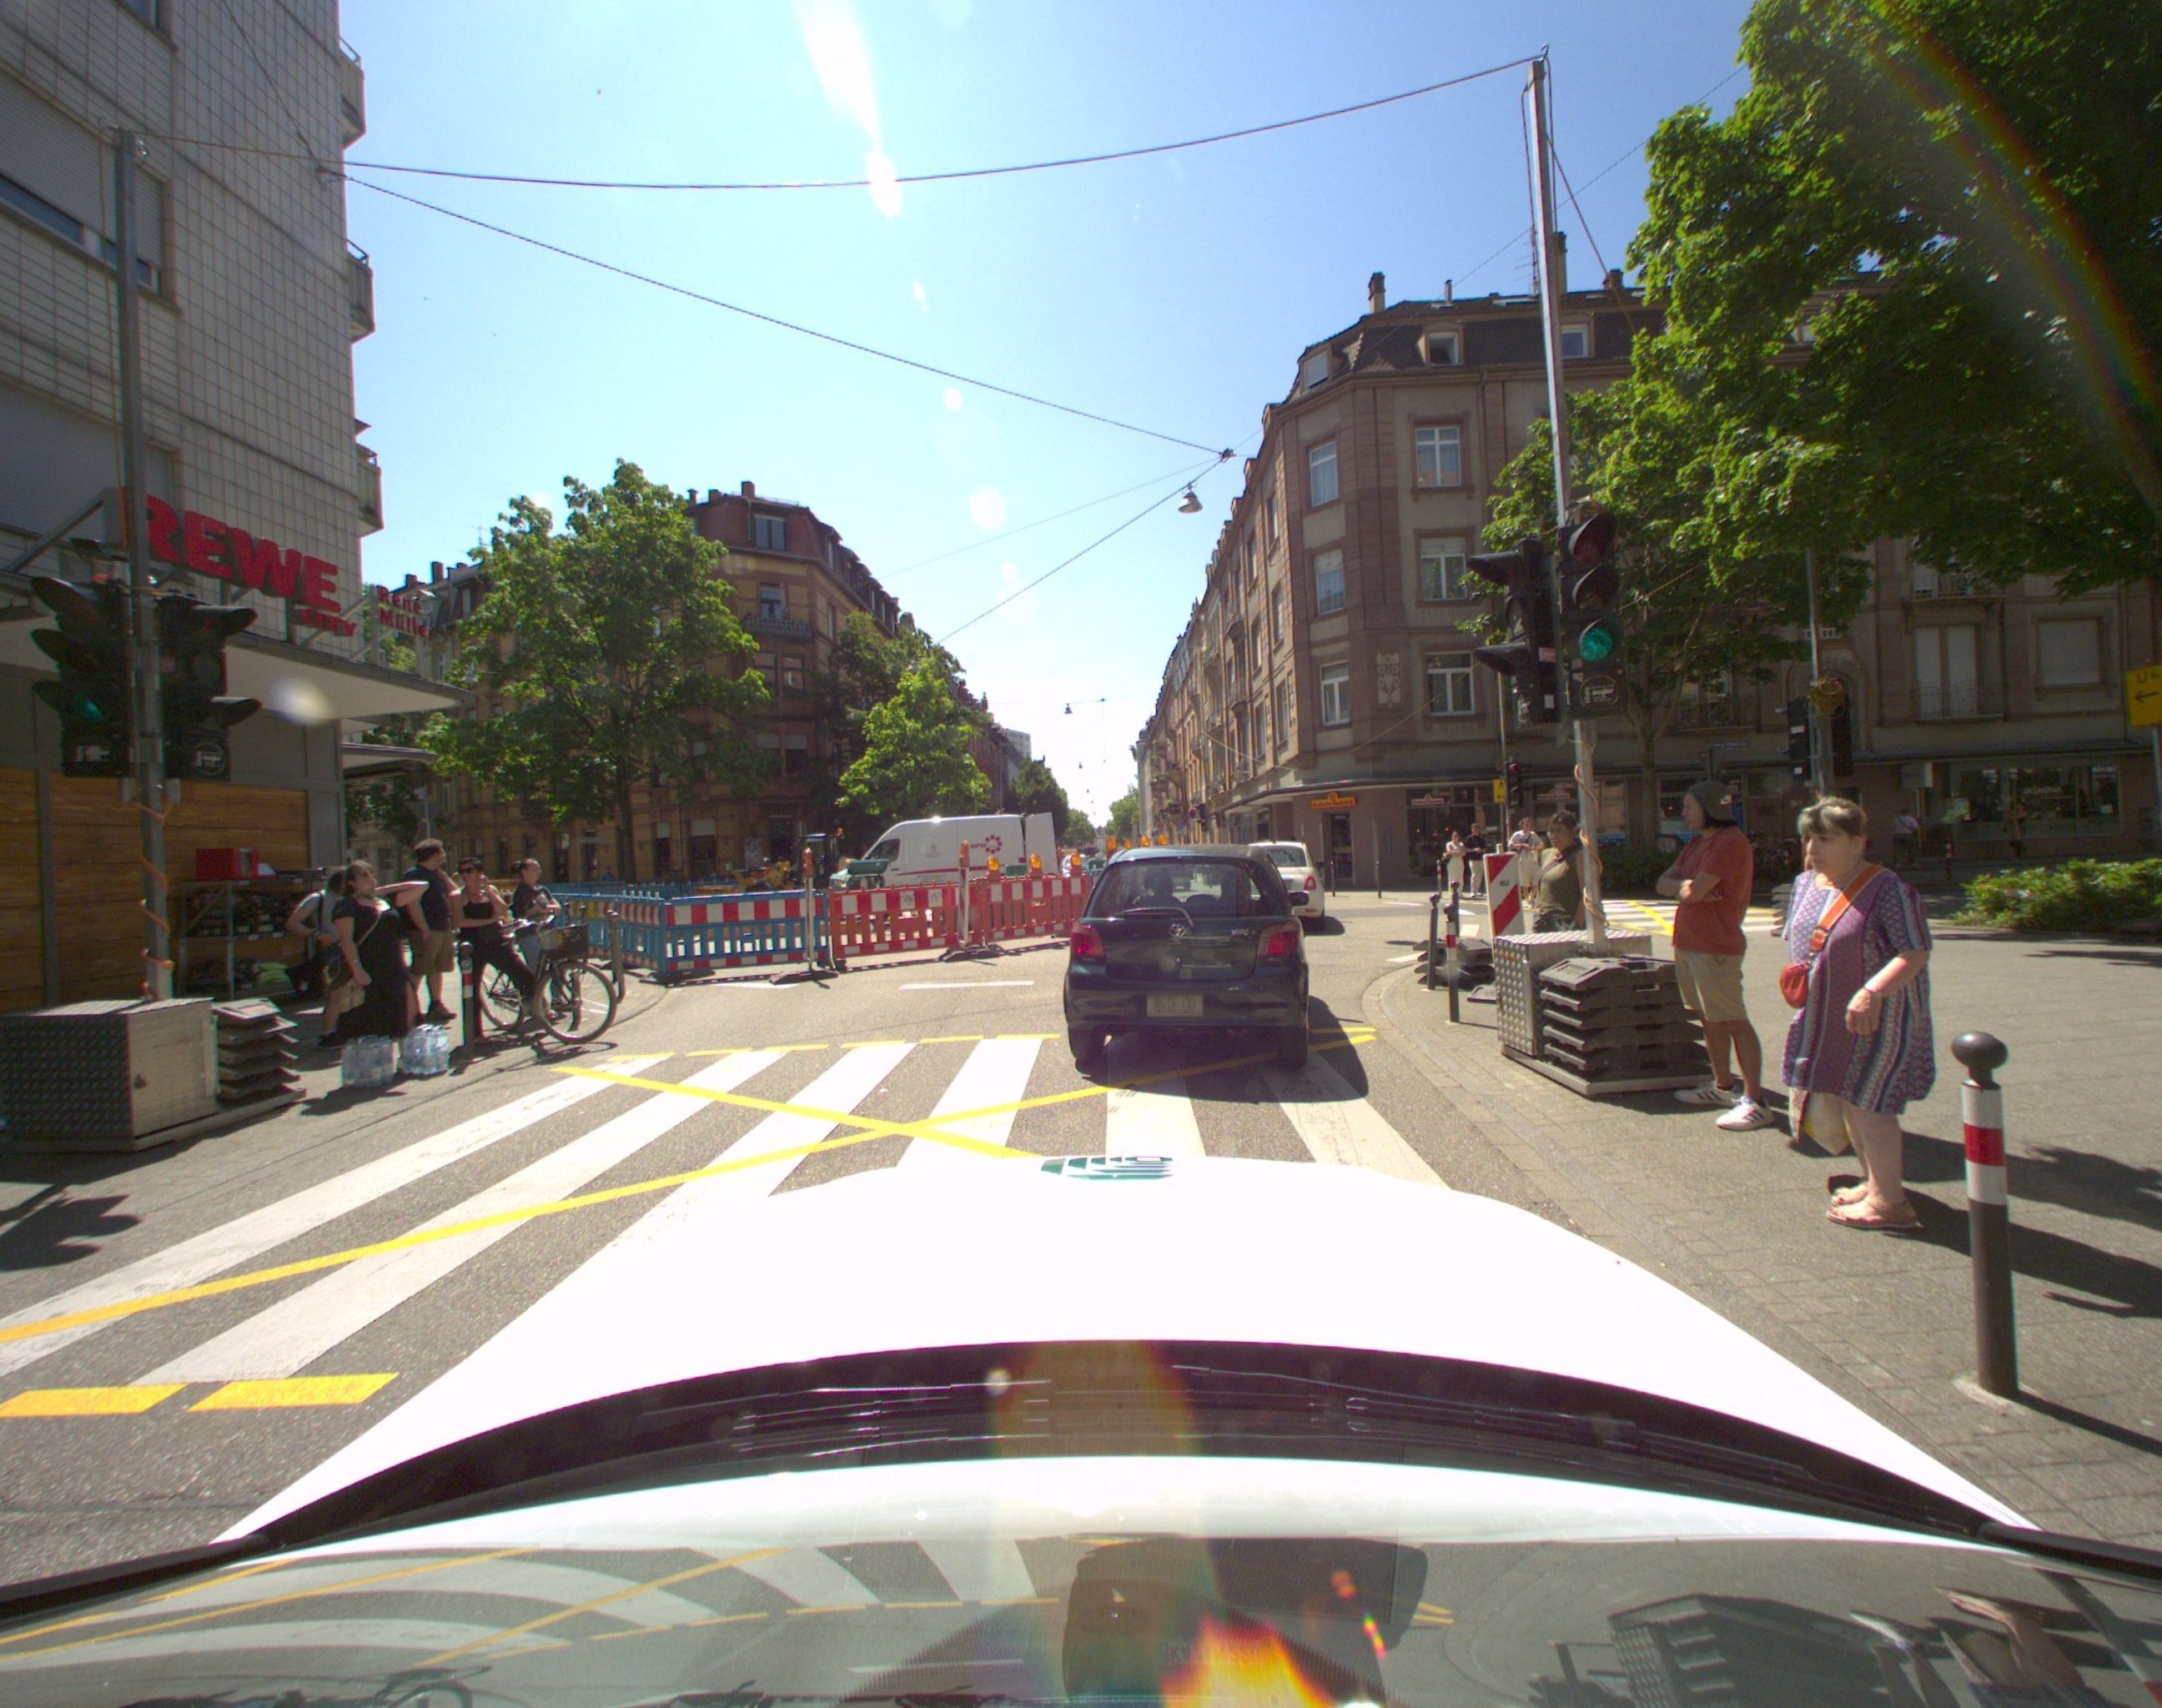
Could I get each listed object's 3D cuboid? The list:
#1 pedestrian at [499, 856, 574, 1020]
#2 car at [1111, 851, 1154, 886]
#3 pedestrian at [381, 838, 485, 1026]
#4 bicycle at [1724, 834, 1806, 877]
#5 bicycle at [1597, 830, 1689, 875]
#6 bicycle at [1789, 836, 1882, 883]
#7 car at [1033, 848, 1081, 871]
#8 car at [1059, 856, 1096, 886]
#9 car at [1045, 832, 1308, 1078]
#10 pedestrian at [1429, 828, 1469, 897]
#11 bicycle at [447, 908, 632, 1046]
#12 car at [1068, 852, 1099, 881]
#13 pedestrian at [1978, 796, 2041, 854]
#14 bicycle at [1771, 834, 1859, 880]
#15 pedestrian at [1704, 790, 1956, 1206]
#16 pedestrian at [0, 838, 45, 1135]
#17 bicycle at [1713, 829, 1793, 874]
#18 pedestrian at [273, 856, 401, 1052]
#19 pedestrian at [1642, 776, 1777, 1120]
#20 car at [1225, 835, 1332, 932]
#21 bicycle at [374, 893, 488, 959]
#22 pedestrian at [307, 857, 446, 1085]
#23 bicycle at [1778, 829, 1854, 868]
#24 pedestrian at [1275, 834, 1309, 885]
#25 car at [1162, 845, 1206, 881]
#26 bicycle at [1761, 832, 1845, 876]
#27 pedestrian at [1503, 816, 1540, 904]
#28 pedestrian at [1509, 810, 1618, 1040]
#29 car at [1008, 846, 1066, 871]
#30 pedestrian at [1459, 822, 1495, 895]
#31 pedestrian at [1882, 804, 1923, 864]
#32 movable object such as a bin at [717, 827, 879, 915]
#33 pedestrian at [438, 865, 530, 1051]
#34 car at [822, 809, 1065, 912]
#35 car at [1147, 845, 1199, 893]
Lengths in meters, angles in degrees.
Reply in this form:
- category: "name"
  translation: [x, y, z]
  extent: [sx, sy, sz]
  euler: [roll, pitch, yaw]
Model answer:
- category: "pedestrian"
  translation: [-5.586, 0.838, 8.376]
  extent: [0.388, 1.618, 0.475]
  euler: [-3, 0, -1]
- category: "car"
  translation: [2.686, 0.720, 43.249]
  extent: [1.986, 1.618, 4.001]
  euler: [-5, 0, 1]
- category: "pedestrian"
  translation: [-6.579, 0.766, 8.295]
  extent: [0.507, 1.820, 0.599]
  euler: [-3, 0, -1]
- category: "bicycle"
  translation: [17.497, 0.030, 20.850]
  extent: [1.756, 0.996, 0.470]
  euler: [-3, 2, -3]
- category: "bicycle"
  translation: [15.399, -0.047, 22.370]
  extent: [1.964, 1.132, 0.519]
  euler: [-3, 0, 19]
- category: "bicycle"
  translation: [17.500, 0.125, 18.900]
  extent: [1.756, 0.996, 0.470]
  euler: [-3, 2, -3]
- category: "car"
  translation: [-2.561, 0.542, 85.741]
  extent: [4.581, 2.187, 1.983]
  euler: [-2, 0, -26]
- category: "car"
  translation: [-0.154, 0.887, 43.885]
  extent: [1.748, 1.444, 4.002]
  euler: [-3, 0, 2]
- category: "car"
  translation: [0.949, 0.626, 6.680]
  extent: [1.602, 1.485, 3.253]
  euler: [-2, 0, 13]
- category: "pedestrian"
  translation: [9.176, 0.212, 20.312]
  extent: [0.701, 1.645, 0.422]
  euler: [-5, 3, -7]
- category: "bicycle"
  translation: [-4.966, 1.079, 7.446]
  extent: [1.789, 1.119, 0.470]
  euler: [-1, 0, 22]
- category: "car"
  translation: [0.206, 0.797, 53.228]
  extent: [1.748, 1.645, 4.379]
  euler: [-6, 0, 2]
- category: "pedestrian"
  translation: [27.019, -0.825, 23.714]
  extent: [0.853, 1.634, 0.787]
  euler: [-3, 0, 1]
- category: "bicycle"
  translation: [17.647, 0.064, 19.593]
  extent: [1.756, 0.996, 0.470]
  euler: [-3, 2, -3]
- category: "pedestrian"
  translation: [2.986, 0.547, 3.291]
  extent: [0.490, 1.543, 0.437]
  euler: [-5, -1, 7]
- category: "pedestrian"
  translation: [-6.719, 0.801, 4.750]
  extent: [0.507, 1.770, 0.599]
  euler: [-3, 0, -1]
- category: "bicycle"
  translation: [17.695, -0.071, 21.452]
  extent: [1.756, 1.080, 0.470]
  euler: [-3, 2, -3]
- category: "pedestrian"
  translation: [-6.519, 0.843, 7.164]
  extent: [0.507, 1.633, 0.599]
  euler: [-3, 0, -1]
- category: "pedestrian"
  translation: [3.219, 0.462, 4.195]
  extent: [0.330, 1.675, 0.402]
  euler: [-3, 0, 7]
- category: "car"
  translation: [3.663, 0.456, 14.728]
  extent: [1.510, 1.521, 3.280]
  euler: [-3, 0, 19]
- category: "bicycle"
  translation: [-11.869, 1.306, 14.902]
  extent: [1.573, 1.072, 0.341]
  euler: [-3, 0, -16]
- category: "pedestrian"
  translation: [-5.309, 0.848, 6.165]
  extent: [0.539, 1.633, 0.511]
  euler: [-3, 0, -1]
- category: "bicycle"
  translation: [20.440, -0.167, 22.649]
  extent: [1.719, 0.996, 0.504]
  euler: [-3, 2, -3]
- category: "pedestrian"
  translation: [6.838, 0.182, 26.376]
  extent: [0.644, 1.623, 0.797]
  euler: [-3, 0, -24]
- category: "car"
  translation: [5.476, 0.465, 43.790]
  extent: [1.864, 1.713, 4.506]
  euler: [-4, 0, 2]
- category: "bicycle"
  translation: [17.822, -0.003, 20.112]
  extent: [1.680, 1.005, 0.470]
  euler: [-3, 2, -3]
- category: "pedestrian"
  translation: [8.923, 0.124, 16.527]
  extent: [0.473, 1.732, 0.876]
  euler: [-3, -1, 20]
- category: "pedestrian"
  translation: [3.427, 0.486, 5.814]
  extent: [0.457, 1.560, 0.480]
  euler: [-3, 0, 7]
- category: "car"
  translation: [-3.972, 0.387, 73.279]
  extent: [4.800, 1.994, 2.035]
  euler: [-2, 0, -28]
- category: "pedestrian"
  translation: [9.936, 0.095, 20.426]
  extent: [0.574, 1.768, 0.470]
  euler: [-5, 3, -7]
- category: "pedestrian"
  translation: [22.607, -0.543, 22.420]
  extent: [0.488, 1.614, 0.560]
  euler: [-3, 0, 6]
- category: "movable object such as a bin"
  translation: [-9.079, 0.533, 26.399]
  extent: [4.529, 2.659, 1.954]
  euler: [-1, 0, -1]
- category: "pedestrian"
  translation: [-5.307, 0.890, 7.247]
  extent: [0.491, 1.565, 0.462]
  euler: [0, 1, 28]
- category: "car"
  translation: [-3.860, 0.177, 23.806]
  extent: [6.595, 2.751, 2.381]
  euler: [-1, 0, 2]
- category: "car"
  translation: [3.308, 0.520, 29.801]
  extent: [1.517, 1.592, 3.264]
  euler: [-3, 0, 1]
